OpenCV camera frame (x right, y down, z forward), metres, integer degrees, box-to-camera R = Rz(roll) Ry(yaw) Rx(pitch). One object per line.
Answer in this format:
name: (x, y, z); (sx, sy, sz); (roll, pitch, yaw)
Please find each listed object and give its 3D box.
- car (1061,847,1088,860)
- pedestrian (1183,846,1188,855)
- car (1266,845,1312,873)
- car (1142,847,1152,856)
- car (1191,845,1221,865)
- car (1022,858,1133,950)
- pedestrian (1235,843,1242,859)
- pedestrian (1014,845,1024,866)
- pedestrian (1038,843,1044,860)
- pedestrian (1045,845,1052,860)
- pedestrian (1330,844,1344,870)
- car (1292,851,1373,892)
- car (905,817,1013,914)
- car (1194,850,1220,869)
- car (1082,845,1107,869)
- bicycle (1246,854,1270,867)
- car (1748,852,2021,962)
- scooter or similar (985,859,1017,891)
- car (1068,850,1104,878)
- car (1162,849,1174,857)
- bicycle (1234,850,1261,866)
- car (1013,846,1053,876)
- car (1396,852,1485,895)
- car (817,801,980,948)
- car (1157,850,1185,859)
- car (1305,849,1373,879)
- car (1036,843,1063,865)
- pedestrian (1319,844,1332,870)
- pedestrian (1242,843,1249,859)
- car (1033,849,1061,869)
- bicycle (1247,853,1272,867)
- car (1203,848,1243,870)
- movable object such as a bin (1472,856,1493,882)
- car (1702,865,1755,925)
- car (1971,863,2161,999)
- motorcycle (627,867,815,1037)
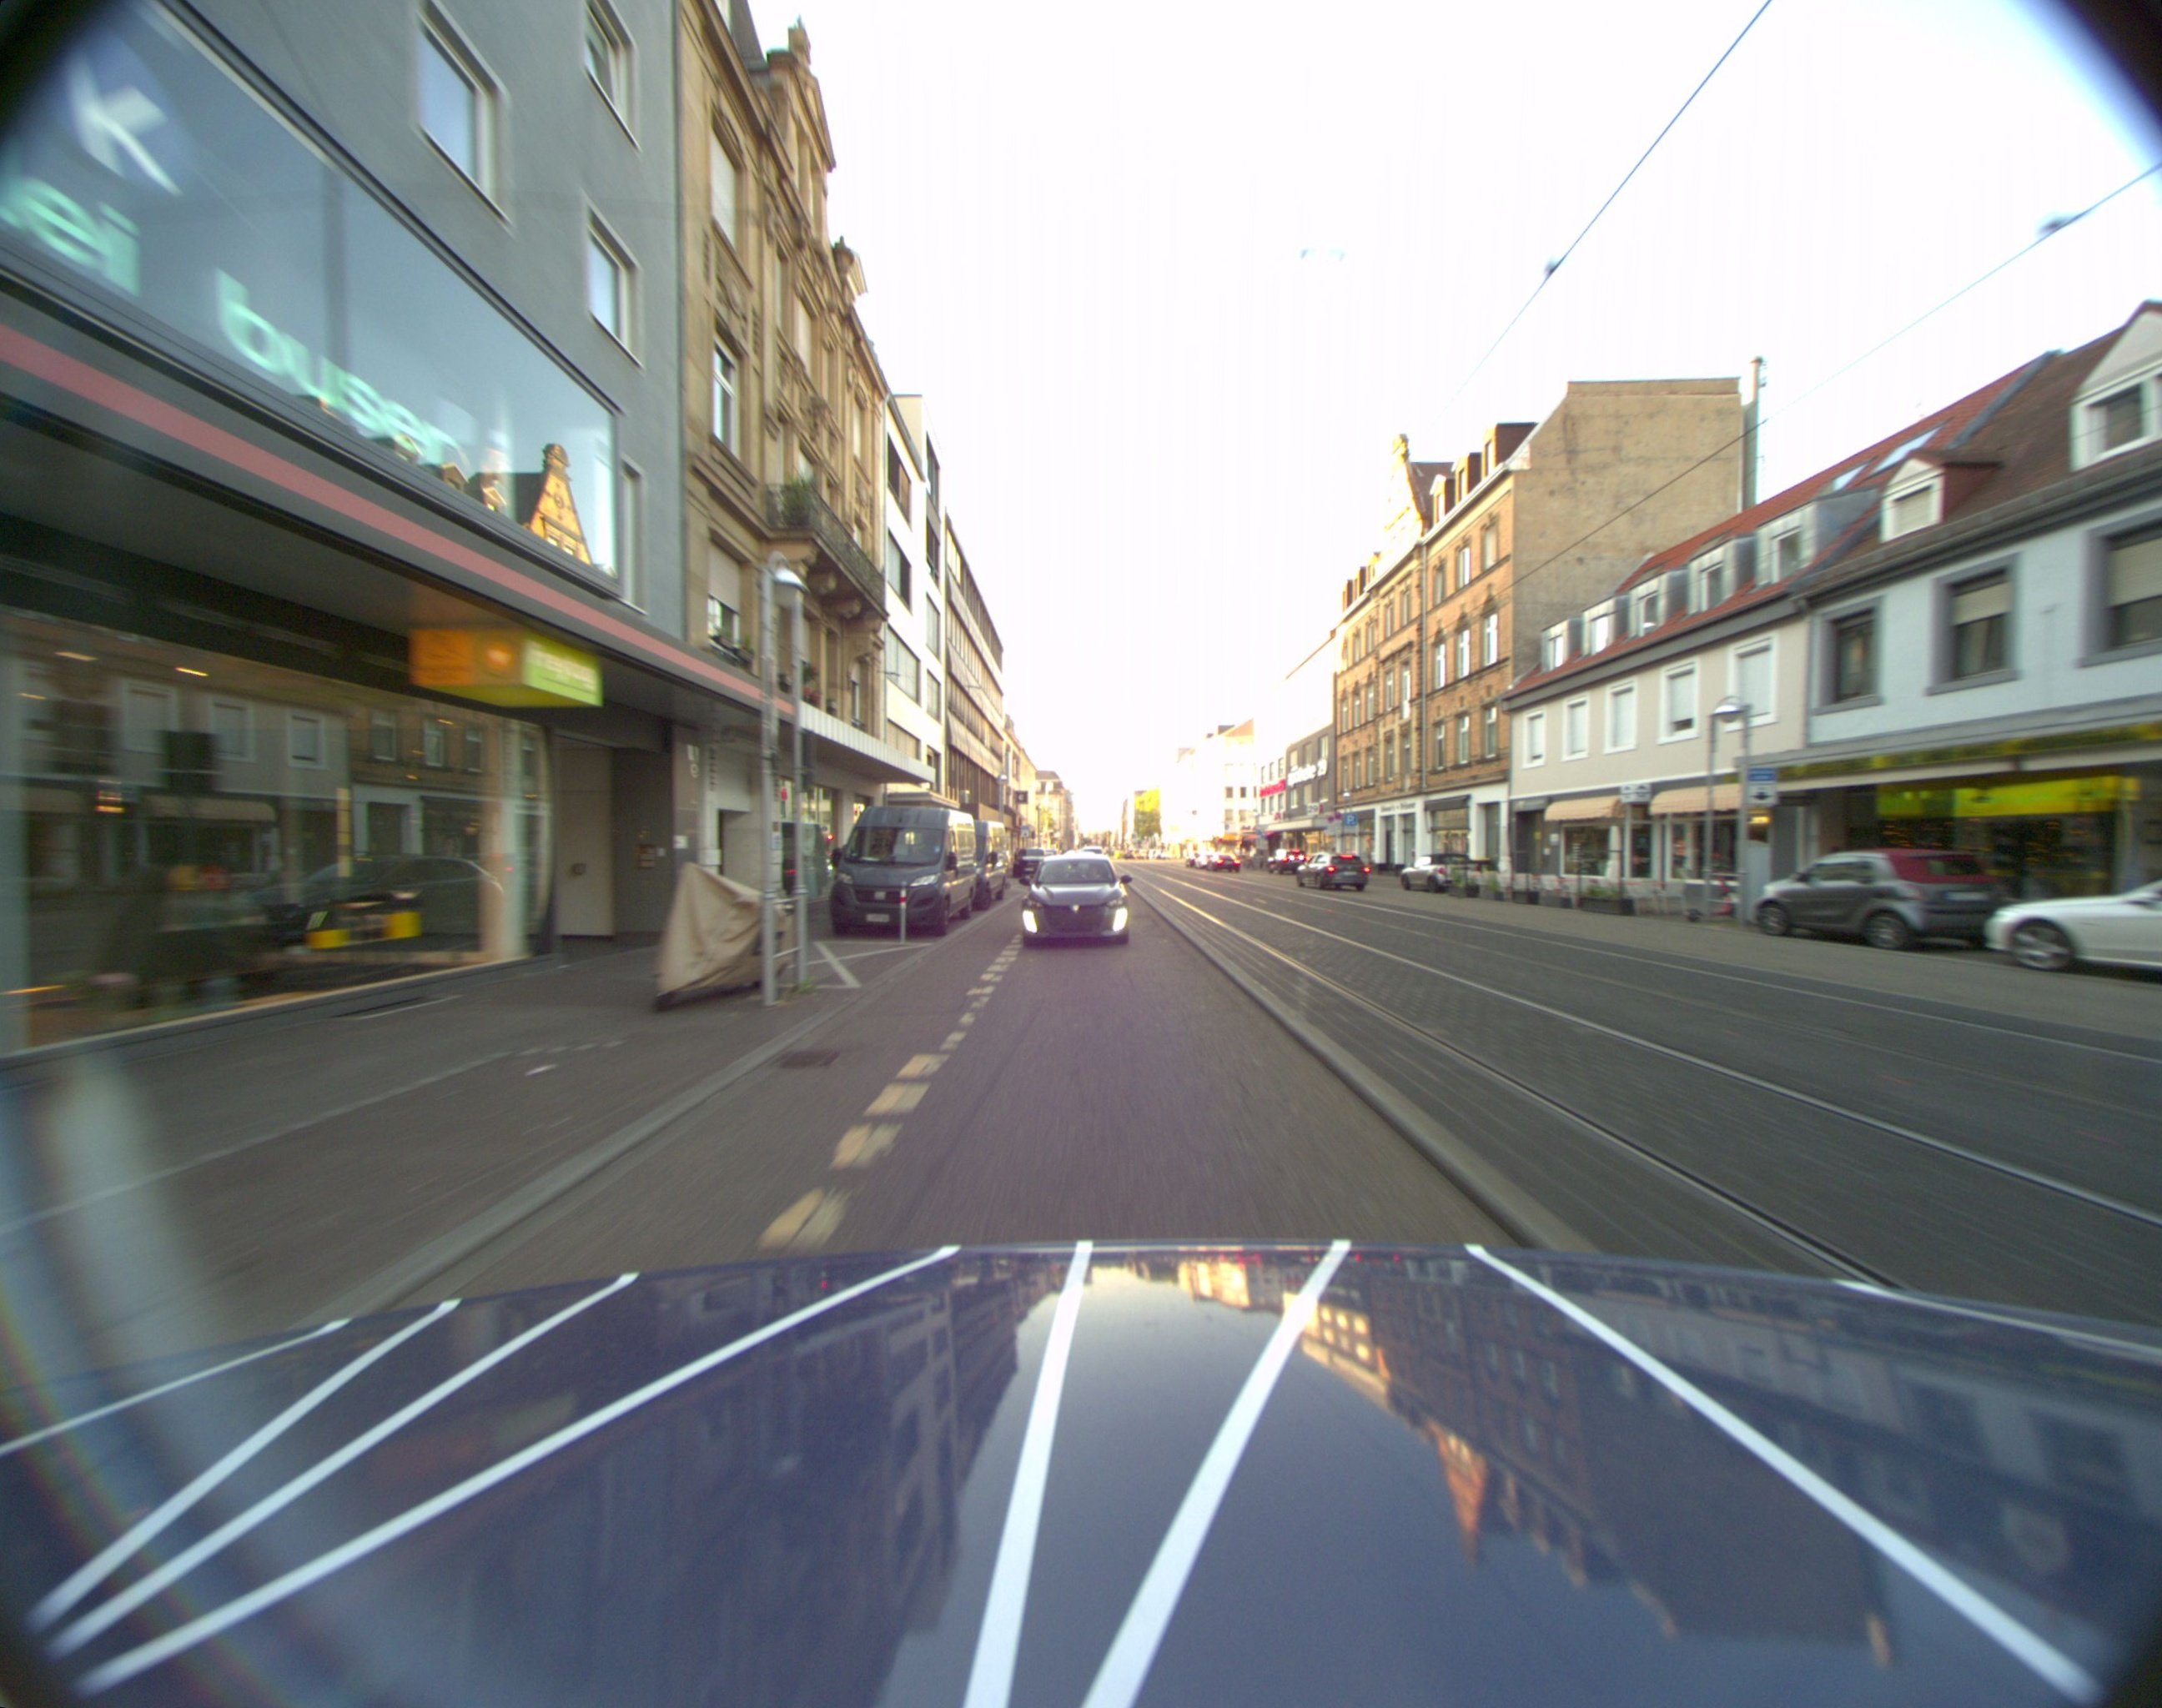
car: (-0.852, -0.044, 92.509); (1.770, 1.480, 3.791); (1, 1, -26)
pedestrian: (17.038, -0.516, 123.905); (0.544, 1.463, 0.624); (-4, 1, -15)
car: (13.537, 0.294, 49.815); (1.935, 1.665, 4.646); (-2, 0, 3)
car: (11.438, -0.529, 132.332); (1.718, 1.463, 3.986); (3, 1, 4)
car: (11.135, 0.060, 67.890); (1.998, 1.717, 4.727); (1, 1, 2)
car: (-0.192, 0.820, 14.174); (1.751, 1.434, 3.904); (-1, 0, -4)
pedestrian: (17.442, -0.310, 83.984); (0.638, 1.734, 0.669); (-1, 1, 1)
pedestrian: (-5.123, 0.104, 62.911); (0.651, 1.708, 0.678); (2, 1, 2)
pedestrian: (-4.645, -0.282, 88.995); (0.663, 1.917, 0.879); (1, 1, -1)
pedestrian: (-3.810, -0.169, 88.845); (0.739, 1.818, 0.850); (1, 1, -1)
pedestrian: (16.561, 0.205, 49.208); (0.684, 1.651, 0.624); (-1, 1, 1)
car: (9.861, 0.636, 30.134); (1.696, 1.444, 4.464); (1, 0, 0)
car: (-3.361, 0.259, 22.209); (2.098, 2.441, 6.031); (1, 1, 0)
car: (10.435, 0.406, 62.665); (1.997, 1.444, 4.659); (2, 1, 10)
car: (1.076, 0.209, 59.720); (1.827, 1.787, 4.285); (0, 1, 3)
bicycle: (14.148, 0.534, 60.710); (1.809, 0.907, 0.456); (-3, 0, 1)
car: (12.888, 0.769, 12.425); (1.480, 1.568, 2.794); (0, 1, -1)
scooter or similar: (-3.127, 0.805, 29.785); (0.498, 1.213, 1.267); (1, 1, 38)
car: (0.329, 0.497, 42.283); (1.827, 1.463, 3.985); (0, 1, 2)
car: (14.101, -0.145, 123.675); (1.636, 1.246, 3.389); (-3, 0, 1)
bicycle: (14.115, 0.344, 64.340); (2.117, 1.217, 0.553); (-3, 2, 1)
car: (-2.761, 0.364, 44.861); (1.998, 1.717, 4.565); (0, 1, 1)
car: (13.398, 0.685, 28.543); (1.602, 1.431, 3.812); (-1, 1, 2)
car: (-3.425, 0.321, 15.492); (2.038, 2.441, 5.408); (1, 1, -1)
car: (12.297, 0.063, 104.111); (3.490, 1.326, 1.597); (0, 1, -8)
car: (13.794, 0.486, 40.865); (1.874, 1.444, 4.608); (-2, 1, -3)
car: (-2.602, -0.014, 63.449); (1.998, 1.717, 4.576); (1, 1, 1)
pedestrian: (15.890, 0.200, 49.331); (0.622, 1.689, 0.602); (-1, 1, 1)
pedestrian: (18.189, -0.330, 84.101); (0.638, 1.768, 0.600); (-1, 1, 1)
car: (-2.535, 0.356, 57.449); (1.800, 1.424, 3.887); (0, 0, 1)
bicycle: (14.112, 0.477, 60.060); (1.835, 1.041, 0.489); (-3, 0, 1)
car: (10.296, 0.329, 55.434); (1.999, 1.444, 4.648); (1, 1, 0)
movable object such as a bin: (16.825, 0.626, 31.860); (0.496, 1.027, 0.694); (-2, 1, 0)
car: (13.475, 0.842, 15.819); (0.785, 1.227, 0.339); (0, 1, -1)
car: (12.989, 0.881, 7.865); (1.998, 1.444, 4.822); (-1, 1, 2)
motorcycle: (-3.568, 0.892, 7.803); (0.846, 1.411, 2.164); (2, 1, 1)
